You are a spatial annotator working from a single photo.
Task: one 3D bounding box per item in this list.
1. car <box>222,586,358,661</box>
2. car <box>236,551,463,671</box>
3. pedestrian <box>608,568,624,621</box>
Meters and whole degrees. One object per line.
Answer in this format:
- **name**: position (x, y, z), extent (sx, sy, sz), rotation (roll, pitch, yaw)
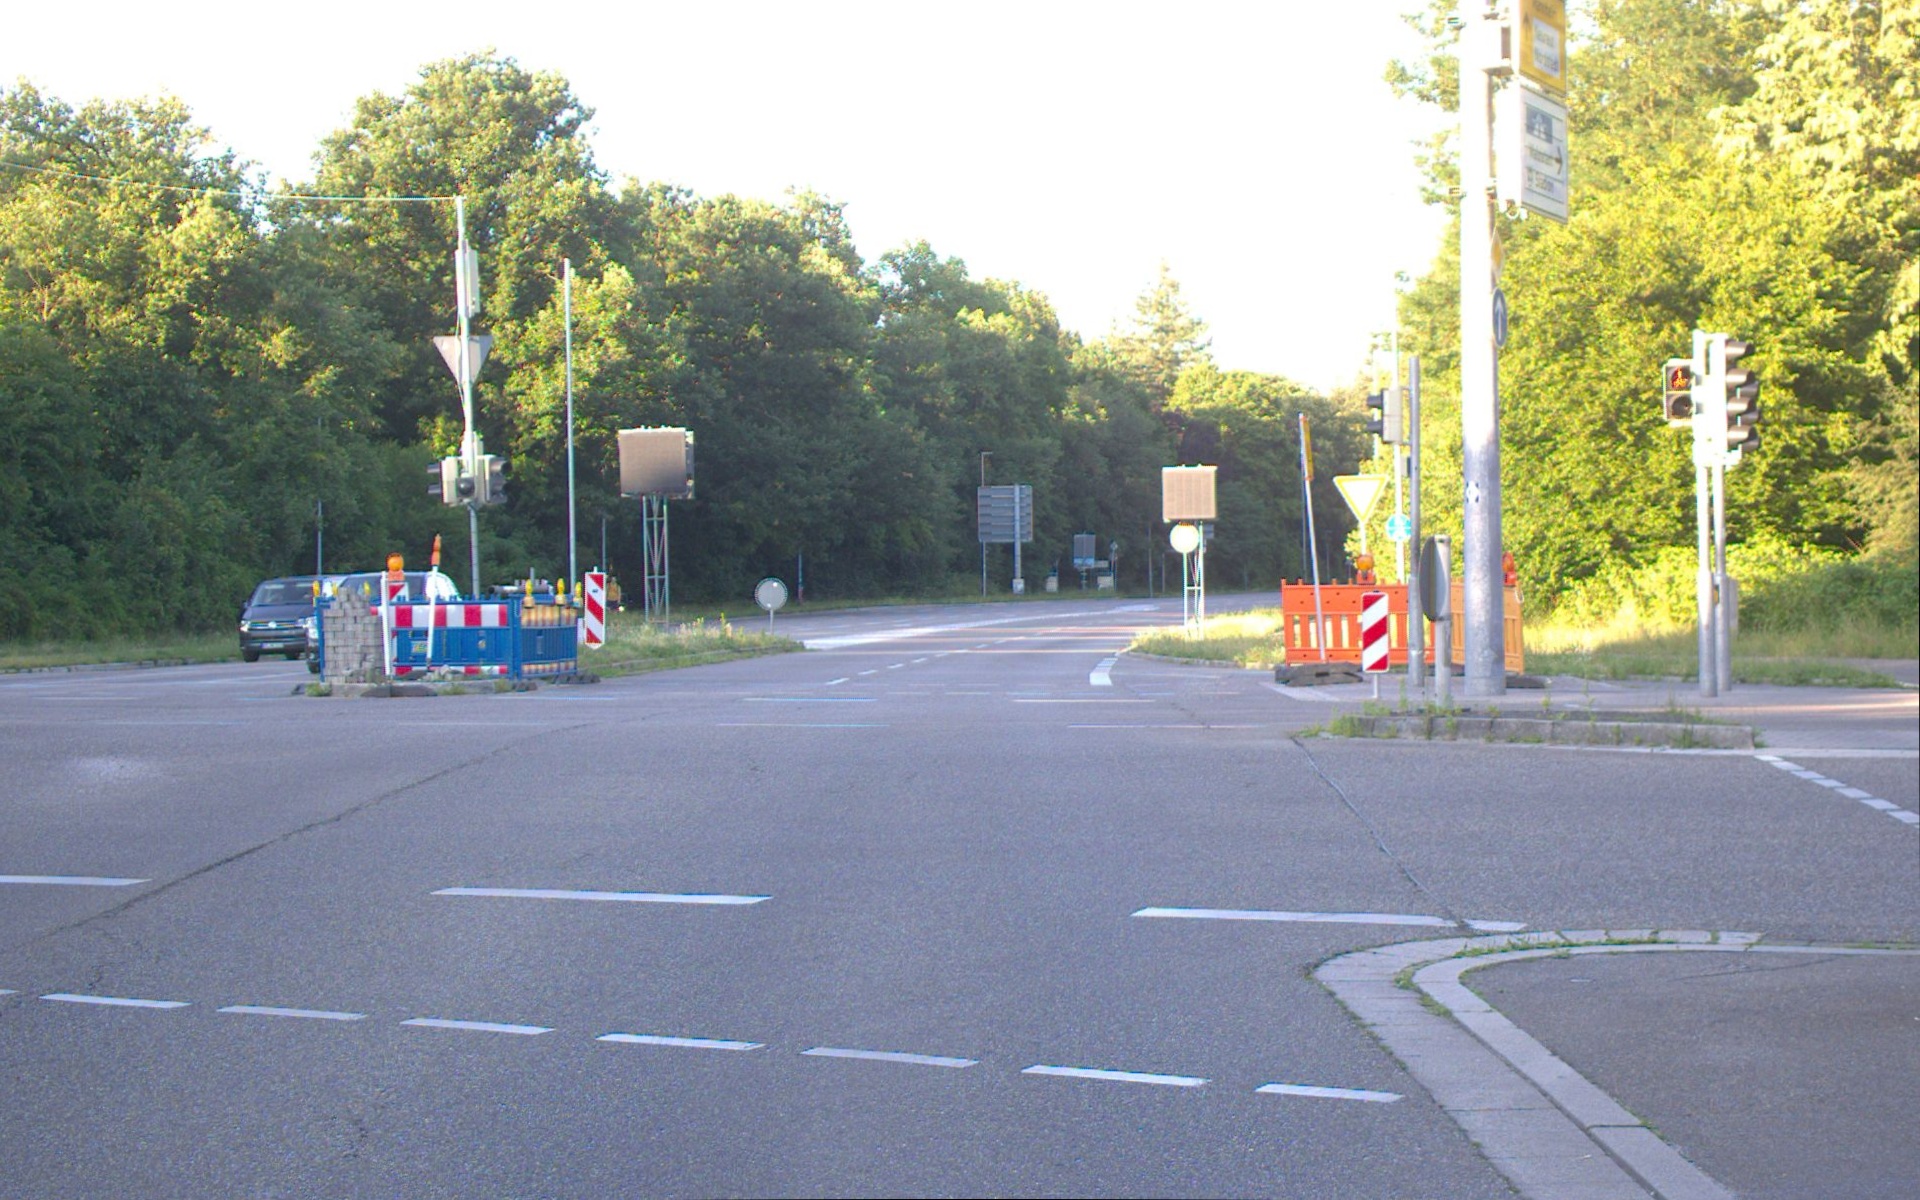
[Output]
- **car**: position (-15.442, 0.517, 79.439), extent (1.994, 1.634, 3.999), rotation (0, 1, 6)
- **car**: position (-9.232, 0.140, 52.298), extent (1.994, 1.634, 3.998), rotation (-2, 2, 12)
- **pedestrian**: position (-13.091, -0.213, 130.774), extent (0.521, 2.007, 0.600), rotation (1, 0, -1)
